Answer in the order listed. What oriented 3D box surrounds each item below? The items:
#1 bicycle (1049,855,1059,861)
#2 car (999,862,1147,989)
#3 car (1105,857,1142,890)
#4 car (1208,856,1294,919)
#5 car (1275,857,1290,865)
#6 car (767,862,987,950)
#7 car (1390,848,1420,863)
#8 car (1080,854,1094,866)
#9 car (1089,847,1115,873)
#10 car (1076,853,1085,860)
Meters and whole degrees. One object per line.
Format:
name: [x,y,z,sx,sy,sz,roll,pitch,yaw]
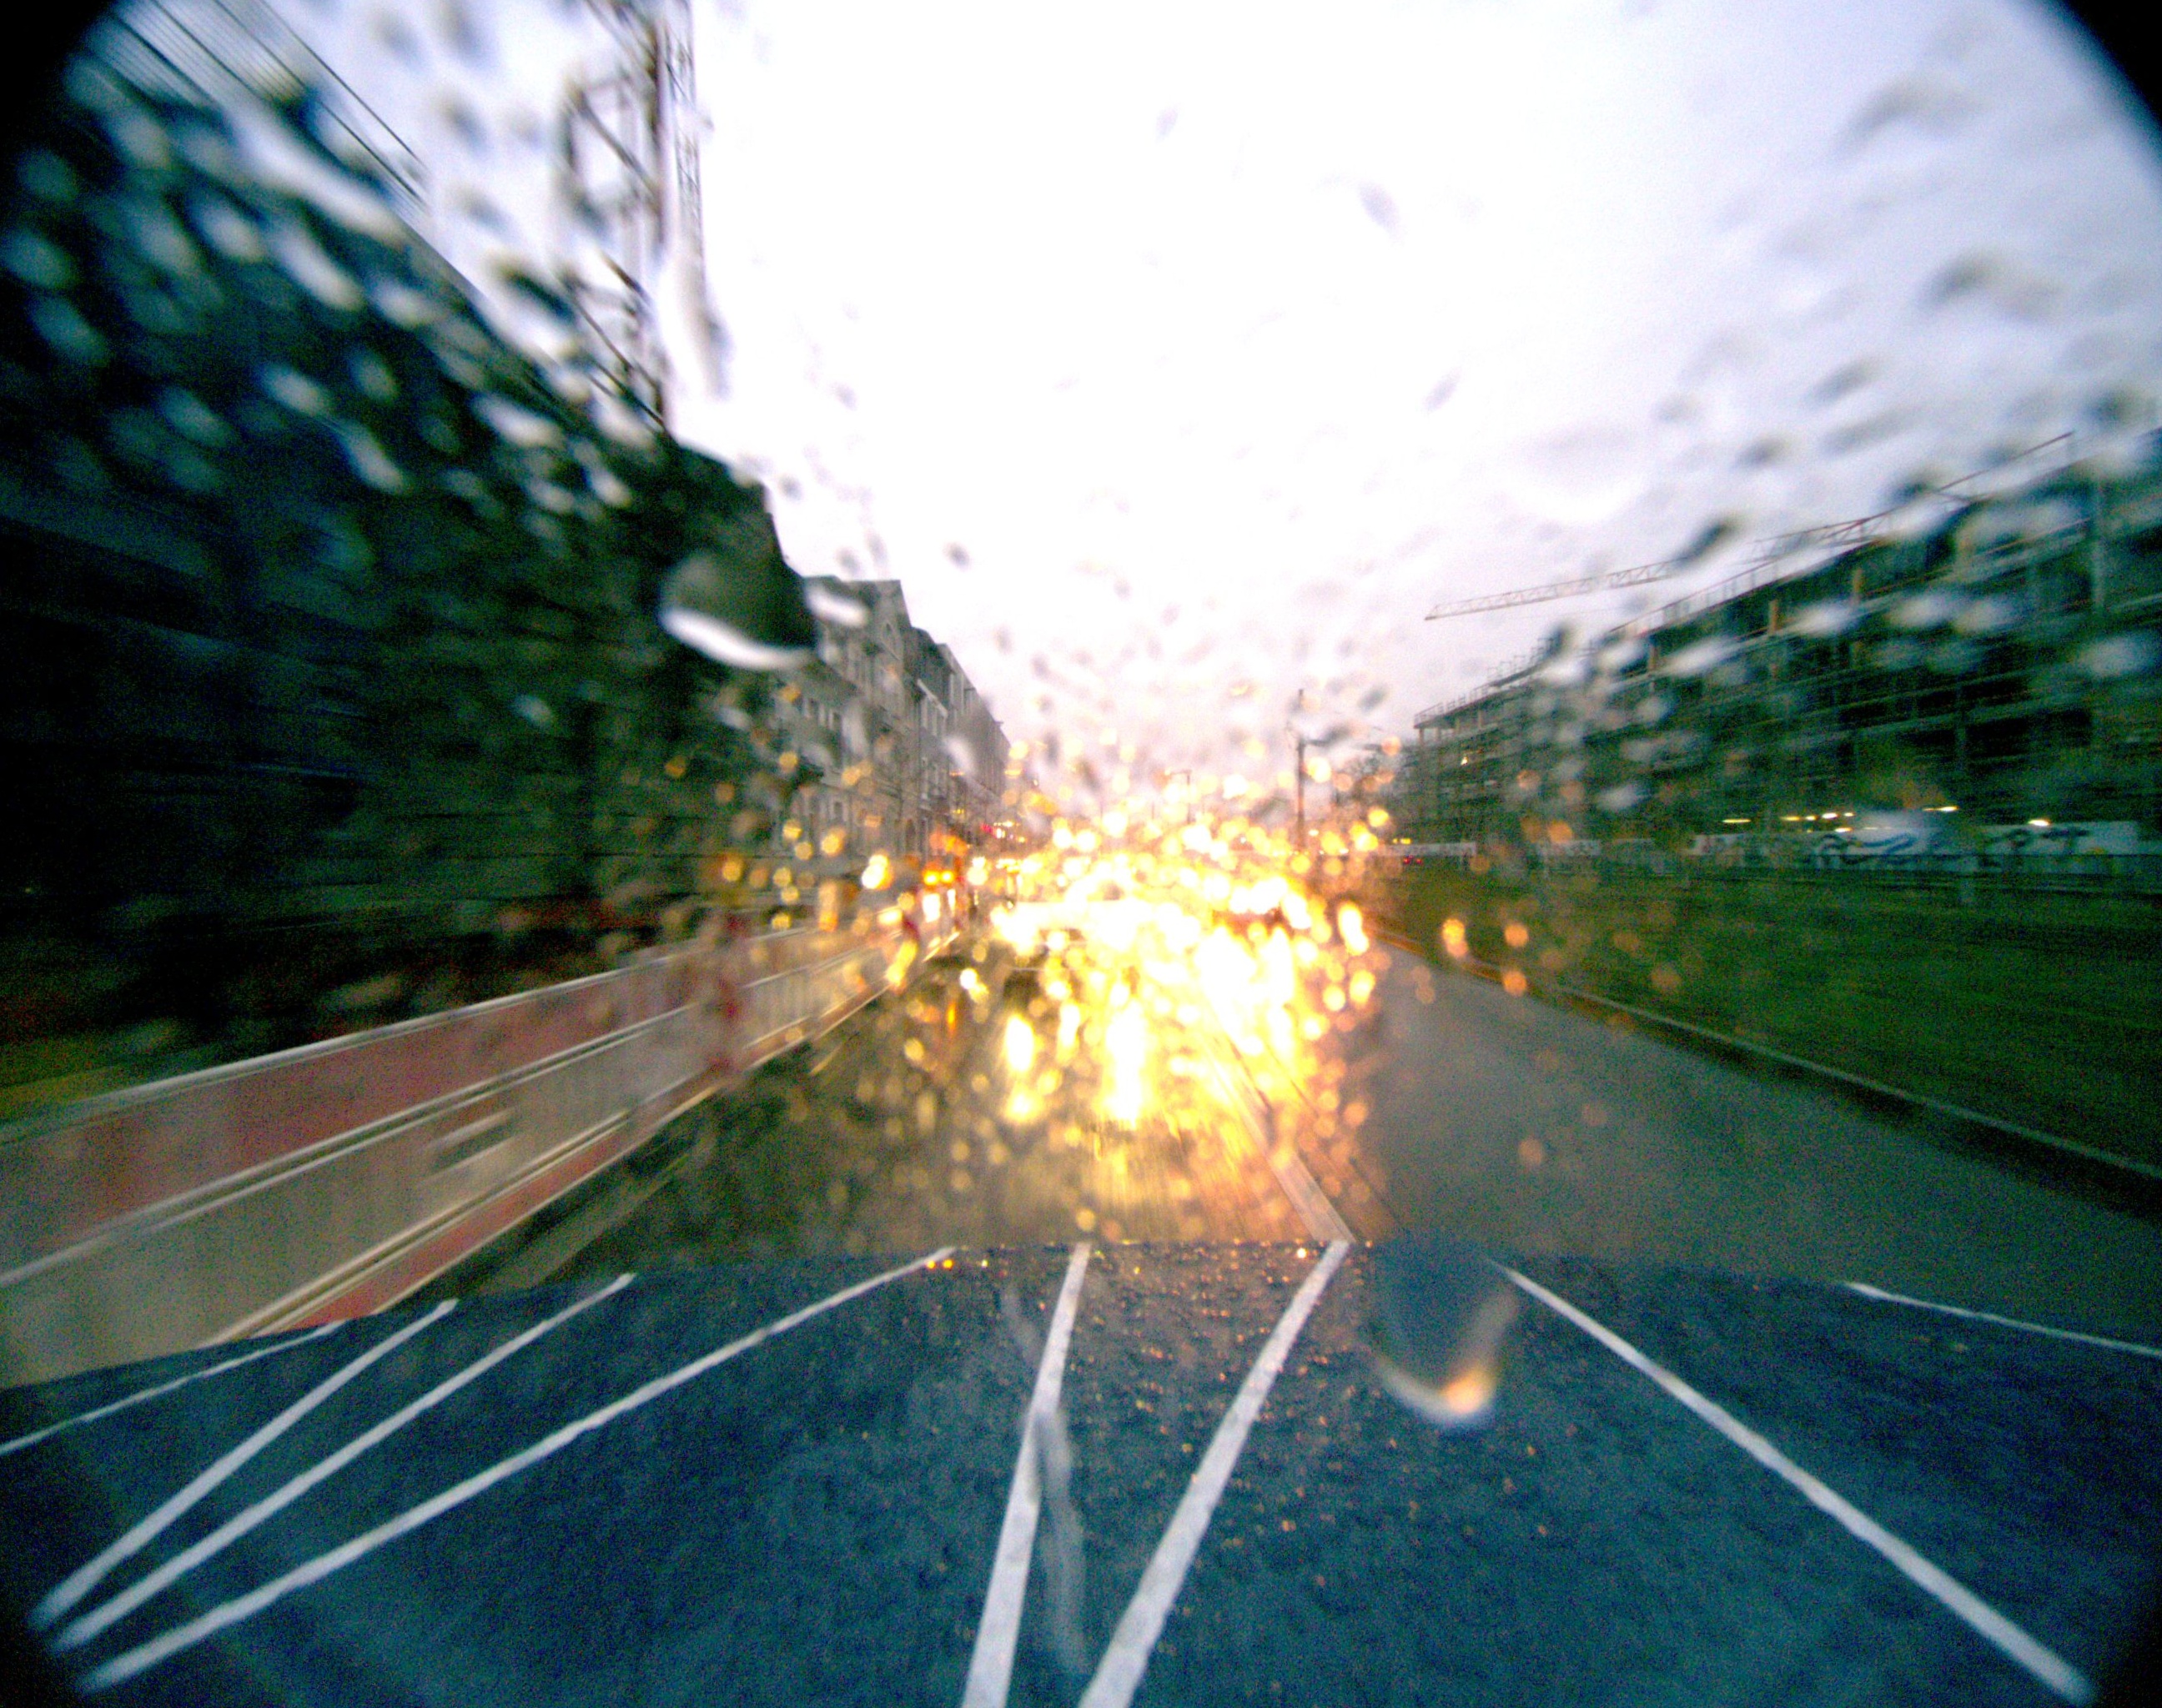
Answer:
bicycle: [-5.369,0.709,150.251,1.908,1.168,0.666,0,1,0]
car: [-0.033,0.928,11.590,1.814,1.464,4.139,-2,0,2]
car: [2.365,1.054,43.261,1.998,1.673,4.000,-2,0,2]
car: [4.259,0.779,19.583,1.808,1.444,4.007,0,0,8]
car: [36.843,1.239,139.285,1.686,1.406,4.340,-2,0,2]
car: [-4.324,1.008,16.321,4.102,1.509,1.903,-2,1,-36]
car: [36.420,0.173,85.443,1.758,1.652,3.765,-1,-1,2]
car: [0.826,0.875,107.832,1.868,1.652,3.986,-1,1,0]
car: [1.592,0.453,58.743,1.865,1.867,4.000,-2,1,1]
car: [-0.095,0.580,178.804,1.868,1.652,3.986,-1,1,0]
